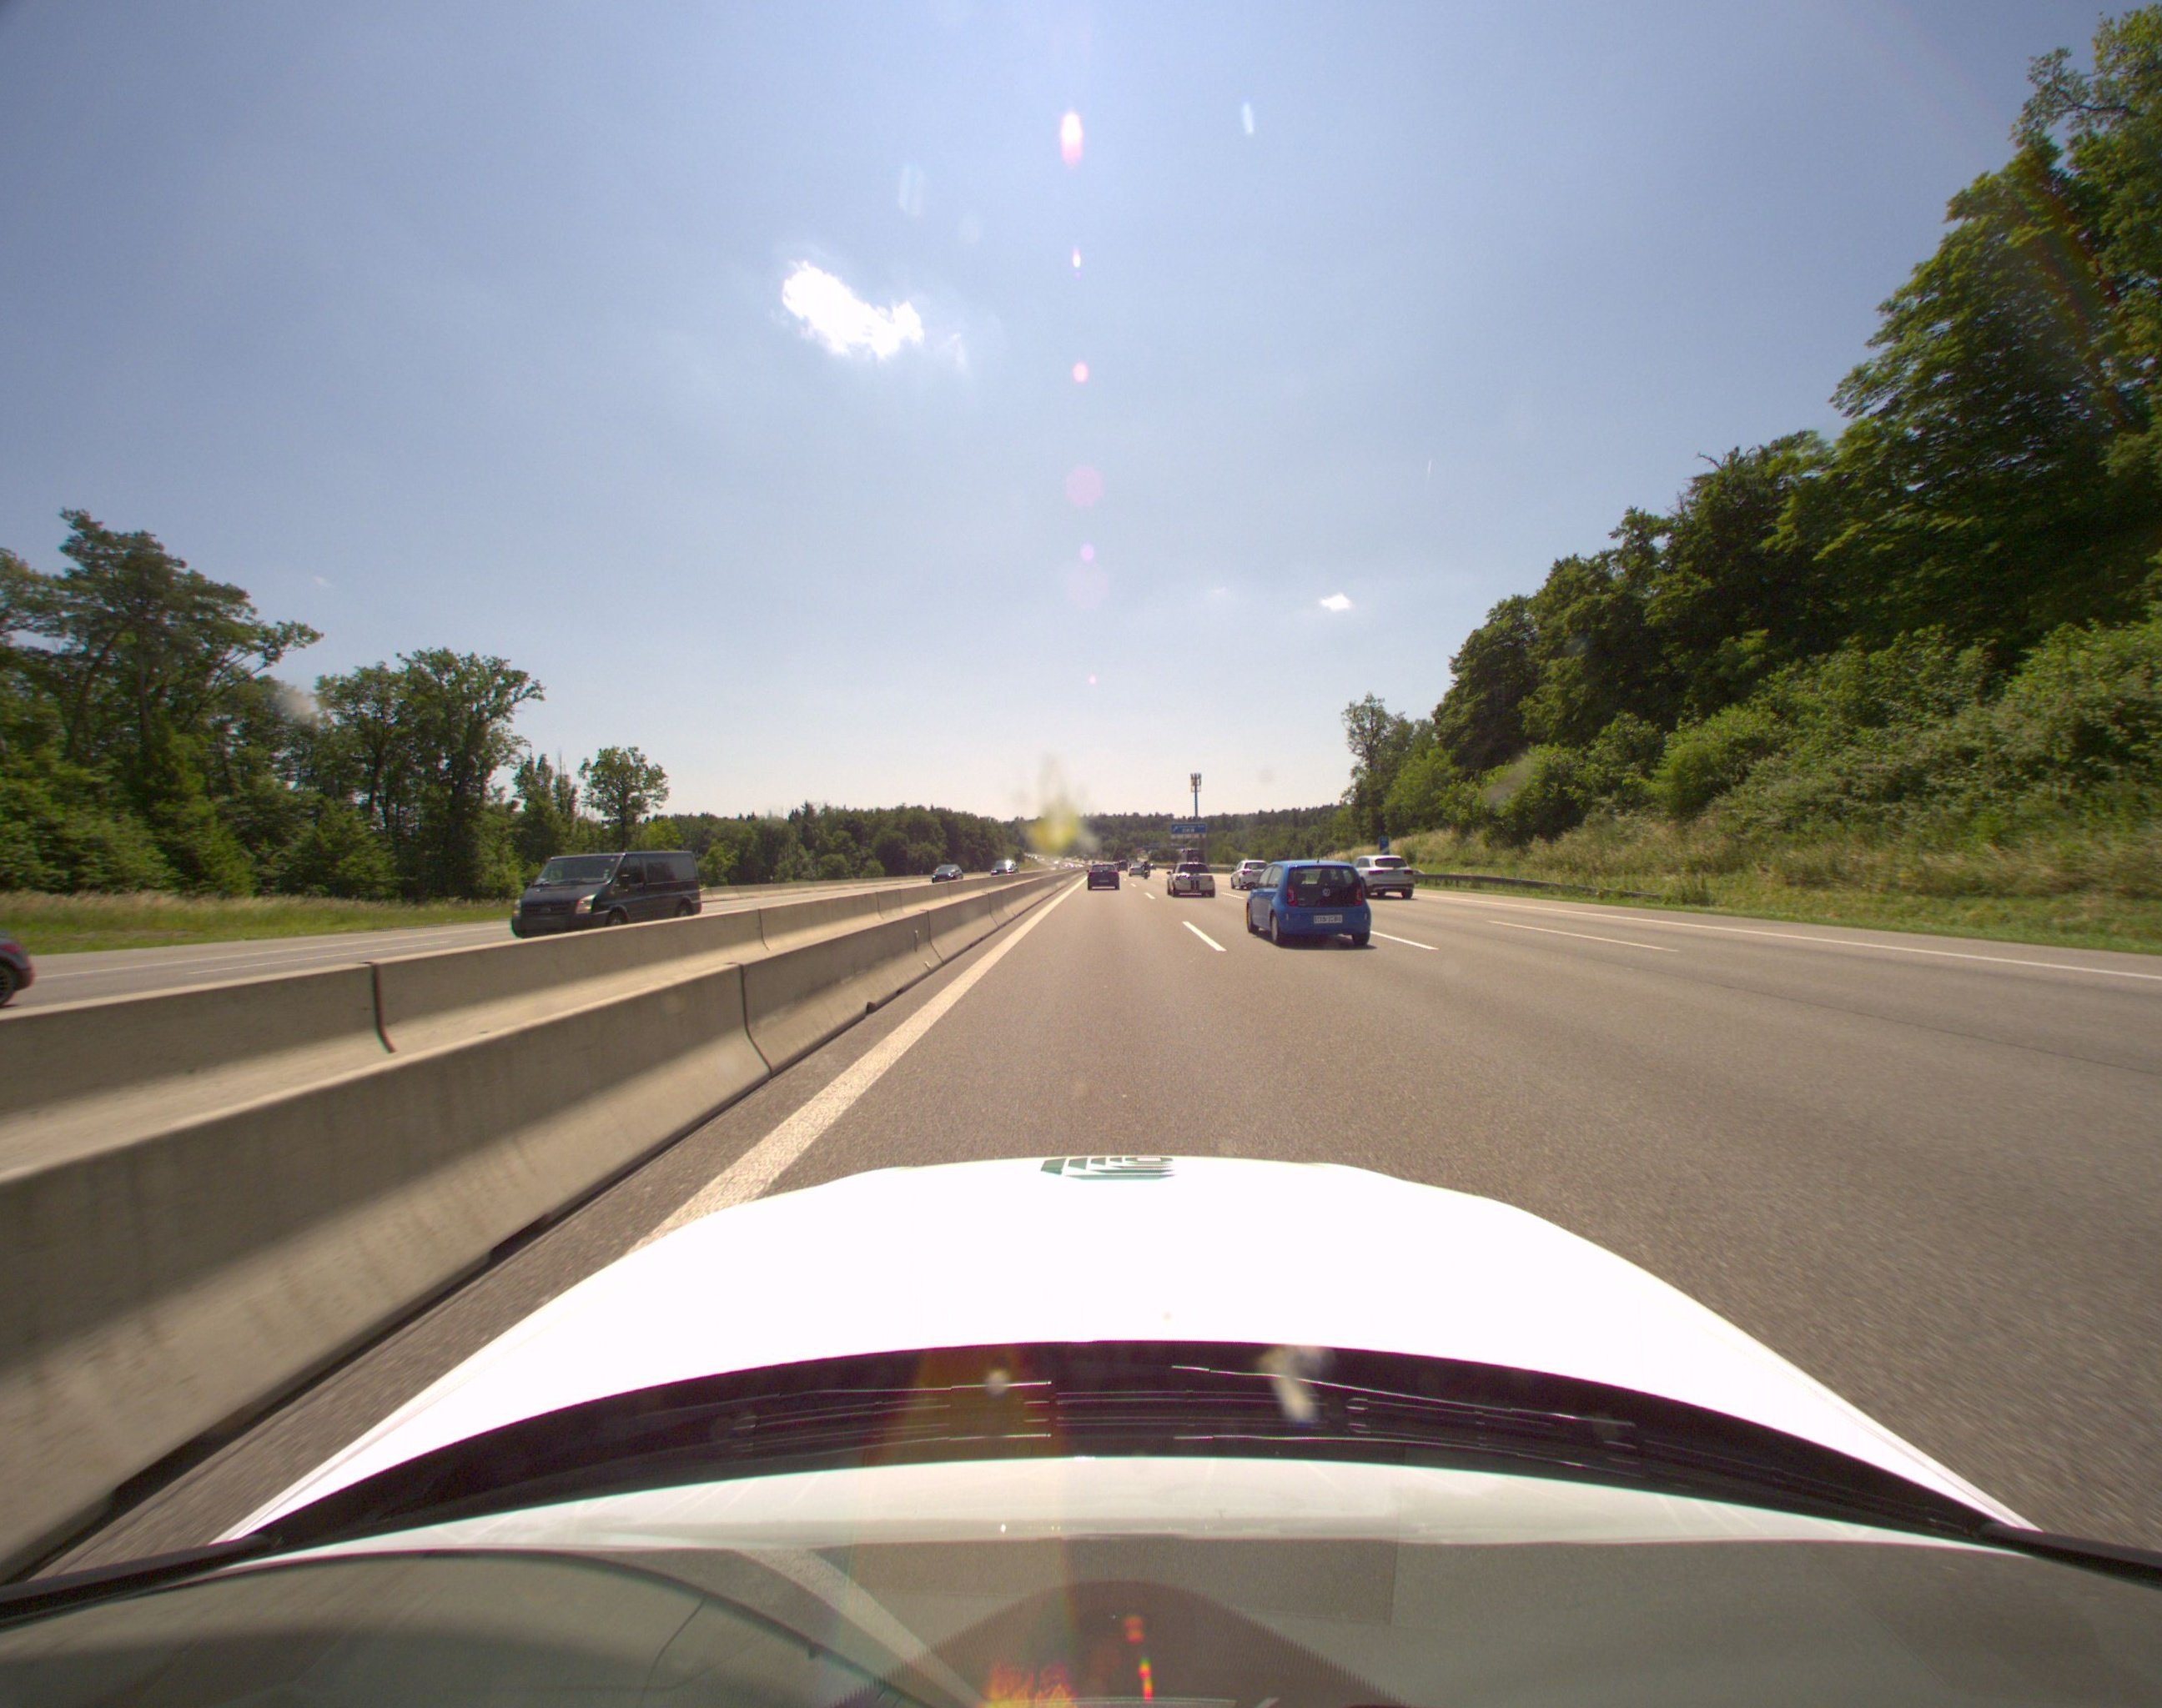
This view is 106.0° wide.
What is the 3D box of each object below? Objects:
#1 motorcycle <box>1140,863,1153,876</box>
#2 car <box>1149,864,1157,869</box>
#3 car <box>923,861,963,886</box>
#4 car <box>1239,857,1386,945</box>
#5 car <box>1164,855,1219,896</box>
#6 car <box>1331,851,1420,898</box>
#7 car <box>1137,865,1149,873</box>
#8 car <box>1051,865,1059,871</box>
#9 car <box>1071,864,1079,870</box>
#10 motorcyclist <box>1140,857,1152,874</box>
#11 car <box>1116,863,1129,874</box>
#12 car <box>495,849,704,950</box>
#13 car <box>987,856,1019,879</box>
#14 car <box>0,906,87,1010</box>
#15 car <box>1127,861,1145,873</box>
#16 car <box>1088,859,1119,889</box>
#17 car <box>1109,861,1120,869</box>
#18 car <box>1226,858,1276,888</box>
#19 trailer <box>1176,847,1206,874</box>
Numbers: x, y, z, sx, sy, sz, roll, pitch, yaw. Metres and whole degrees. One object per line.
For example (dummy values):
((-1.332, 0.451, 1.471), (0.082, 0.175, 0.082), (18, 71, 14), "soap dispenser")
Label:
((5.892, 1.414, 73.165), (0.974, 1.129, 2.271), (-2, 0, 0), "motorcycle")
((17.082, 2.909, 193.019), (1.603, 1.212, 3.459), (-2, -1, 0), "car")
((-10.507, 1.475, 62.581), (1.987, 1.675, 5.281), (-4, -1, 1), "car")
((4.186, 0.789, 15.395), (1.731, 1.411, 4.001), (-1, -1, 2), "car")
((4.518, 0.890, 33.799), (1.834, 1.552, 4.001), (2, -1, 2), "car")
((11.565, 0.755, 32.383), (1.794, 1.731, 5.240), (0, 0, 1), "car")
((10.638, 2.590, 140.217), (1.671, 1.432, 3.683), (-1, -1, -1), "car")
((-6.146, 3.291, 193.582), (1.832, 1.441, 4.000), (-1, -1, 0), "car")
((-1.520, 3.237, 203.074), (1.832, 1.441, 4.845), (-1, -1, 0), "car")
((5.815, 1.017, 73.162), (0.959, 1.437, 1.234), (-3, -1, -1), "motorcyclist")
((7.706, 2.644, 151.577), (2.090, 1.851, 4.081), (-2, 0, 1), "car")
((-10.960, 0.940, 19.058), (1.987, 2.013, 4.811), (-2, 0, -1), "car")
((-6.437, 1.096, 67.882), (1.987, 1.673, 5.281), (-4, -1, 1), "car")
((-14.947, 1.429, 9.422), (1.481, 1.305, 4.301), (-3, 0, 2), "car")
((6.059, 1.452, 90.167), (1.776, 1.265, 3.461), (-2, 0, 1), "car")
((1.217, 1.036, 43.961), (1.618, 1.487, 3.687), (0, 0, 2), "car")
((7.683, 2.536, 186.161), (1.989, 1.684, 4.419), (0, 0, -3), "car")
((8.646, 0.943, 41.773), (1.660, 1.433, 4.376), (-2, 0, 1), "car")
((16.173, 1.074, 120.744), (2.847, 3.688, 13.545), (-2, -1, 1), "trailer")
